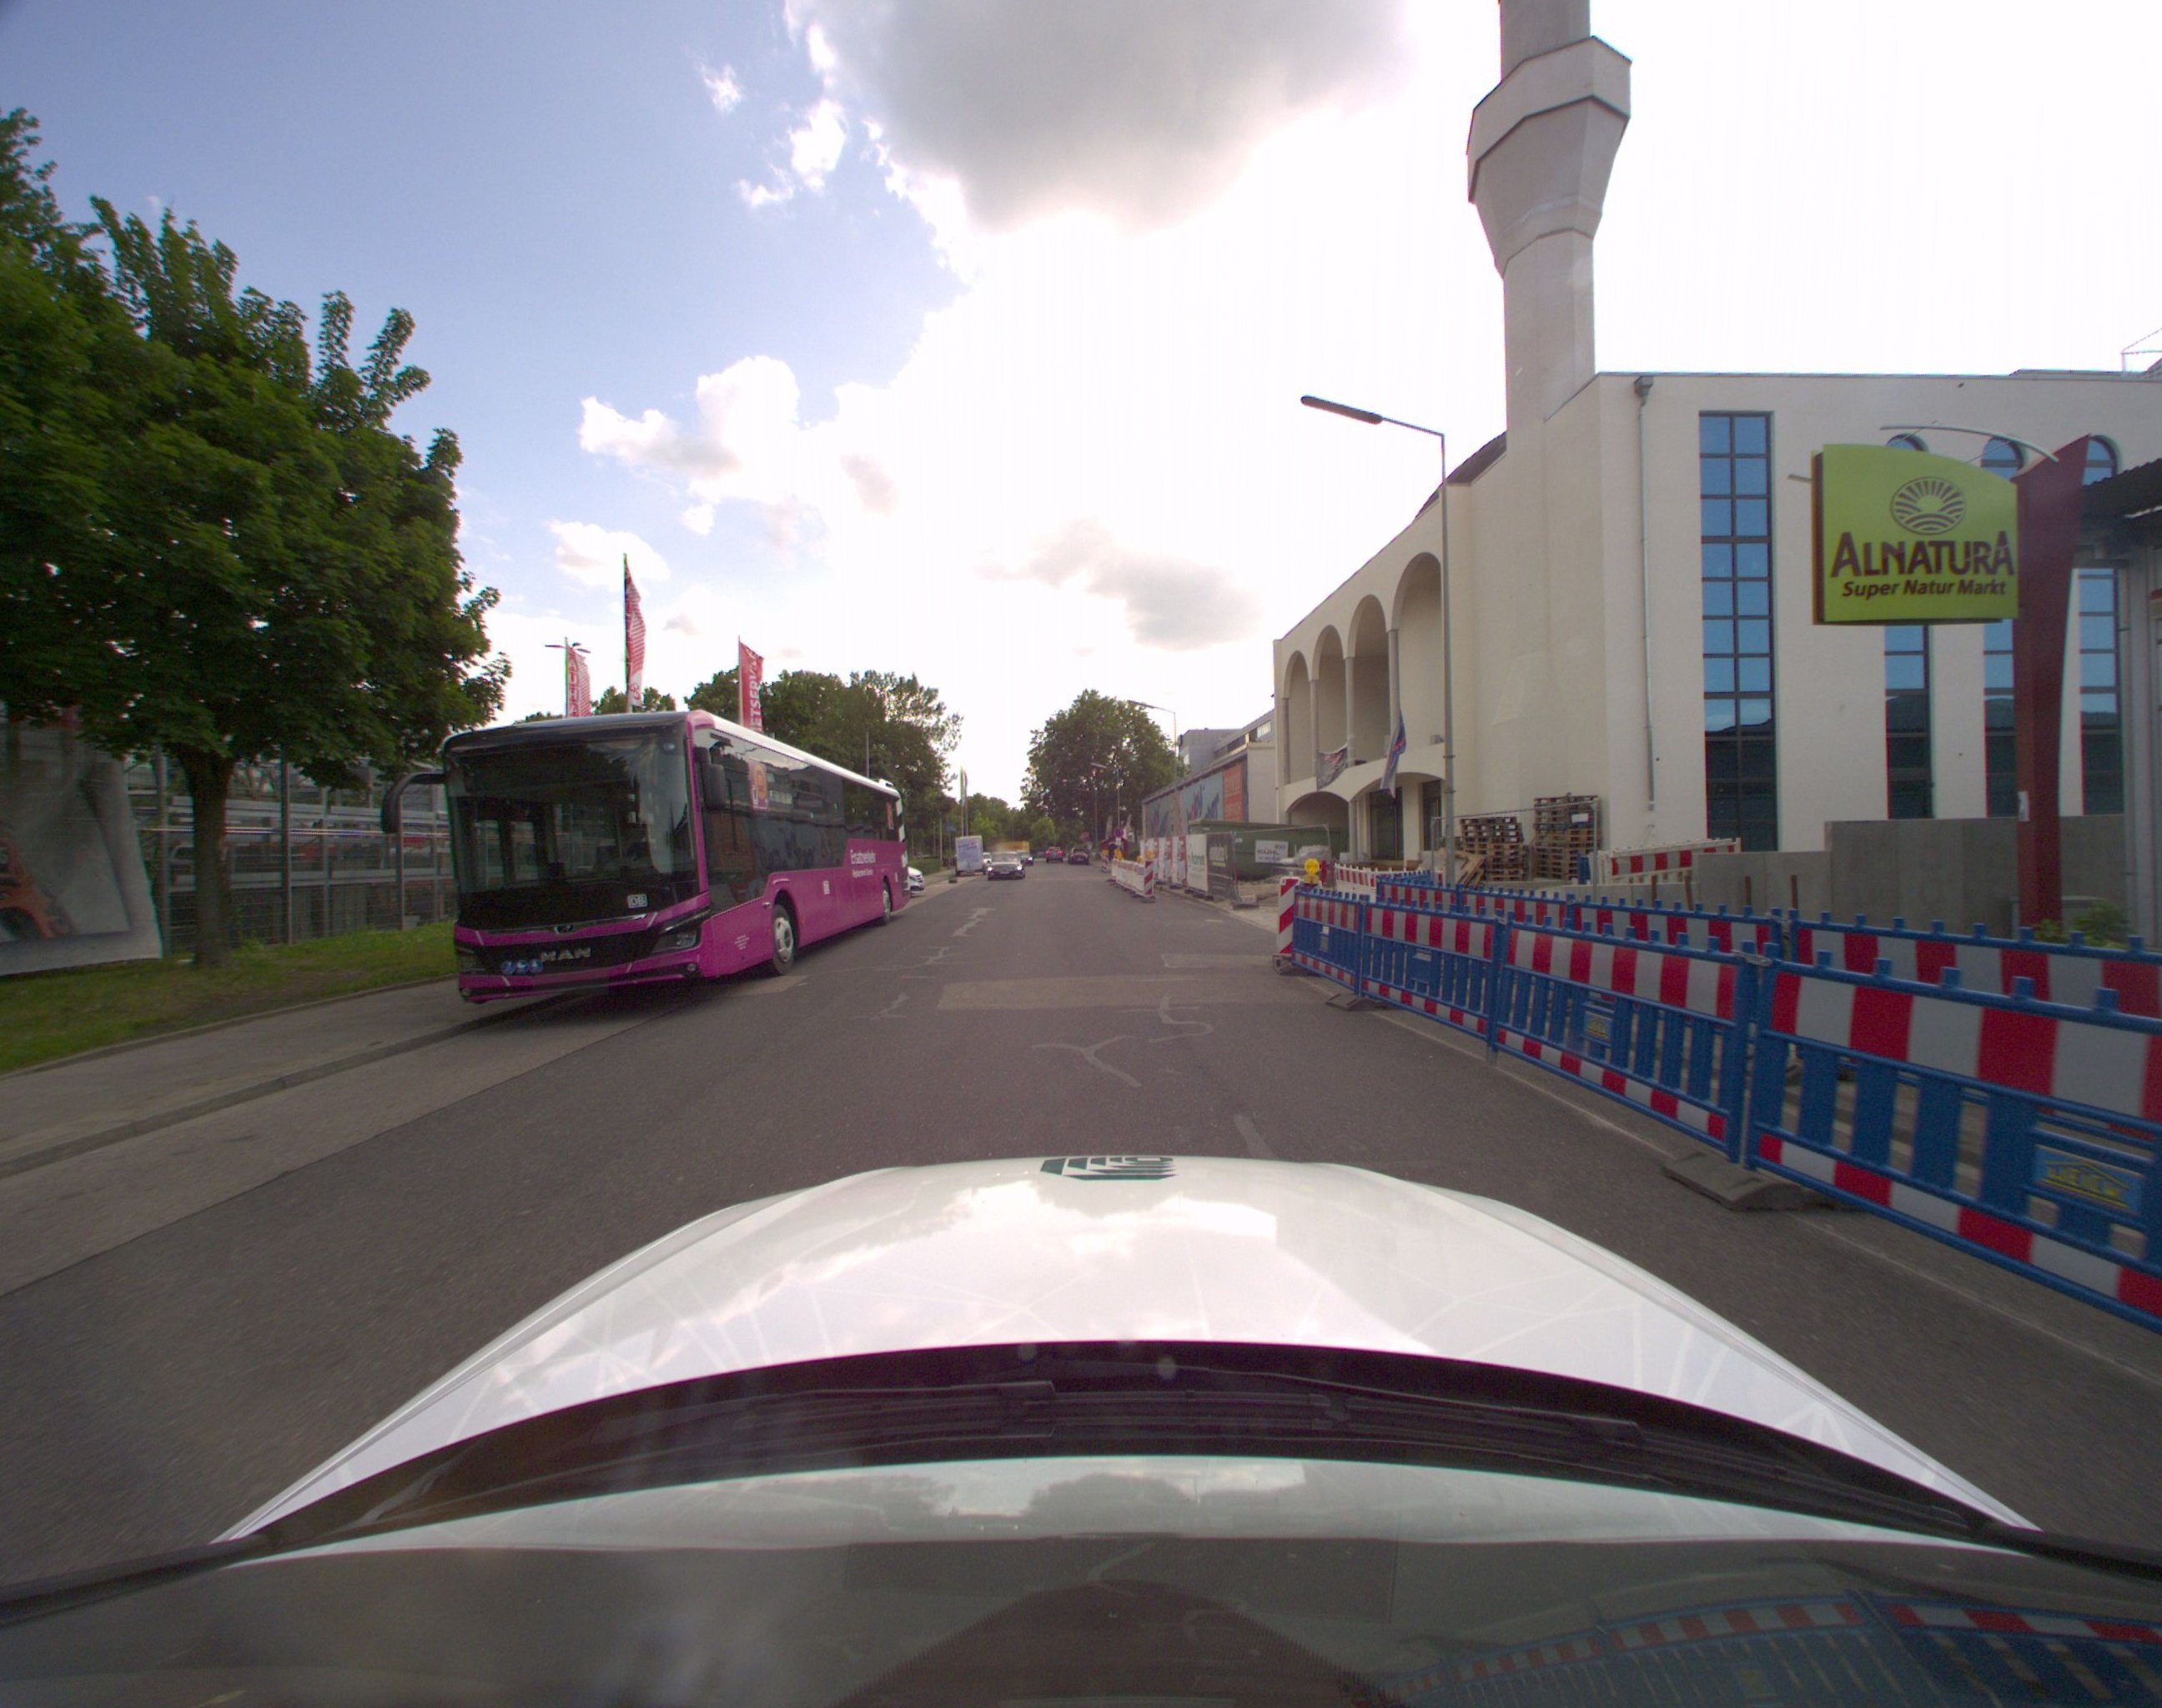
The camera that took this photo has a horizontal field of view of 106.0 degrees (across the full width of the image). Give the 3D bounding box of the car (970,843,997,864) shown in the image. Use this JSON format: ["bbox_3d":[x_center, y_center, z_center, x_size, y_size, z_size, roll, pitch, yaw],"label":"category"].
[{"bbox_3d":[-7.727,-0.072,64.739,1.762,1.479,4.230,-4,1,-4],"label":"car"}]

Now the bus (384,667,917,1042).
[{"bbox_3d":[-5.460,-0.122,14.466,2.657,3.422,13.207,-5,1,-2],"label":"bus"}]

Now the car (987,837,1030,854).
[{"bbox_3d":[-11.400,-1.357,128.298,6.326,2.578,2.219,-1,1,24],"label":"car"}]

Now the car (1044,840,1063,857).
[{"bbox_3d":[-3.081,-0.635,91.358,1.958,1.815,4.269,-1,1,-5],"label":"car"}]

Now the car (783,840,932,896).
[{"bbox_3d":[-8.331,0.489,30.656,4.980,1.949,1.994,-1,1,2],"label":"car"}]

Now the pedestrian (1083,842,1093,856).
[{"bbox_3d":[0.994,-0.725,112.482,1.004,1.849,1.221,-1,0,-21],"label":"pedestrian"}]

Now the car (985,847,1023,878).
[{"bbox_3d":[-4.055,0.394,43.495,1.792,1.459,4.381,-2,1,-3],"label":"car"}]

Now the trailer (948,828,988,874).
[{"bbox_3d":[-7.469,-0.231,54.218,2.135,2.783,4.698,-3,1,-3],"label":"trailer"}]

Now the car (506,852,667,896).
[{"bbox_3d":[-18.232,0.715,30.197,4.671,1.453,1.953,-1,1,-2],"label":"car"}]

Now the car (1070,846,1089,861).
[{"bbox_3d":[-0.169,-0.062,80.313,1.803,1.390,4.586,2,1,-1],"label":"car"}]

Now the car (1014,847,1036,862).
[{"bbox_3d":[-5.423,0.037,79.284,1.918,1.376,4.376,-1,1,-2],"label":"car"}]

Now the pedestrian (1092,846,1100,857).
[{"bbox_3d":[1.855,-0.284,100.639,1.009,1.313,0.966,-1,0,5],"label":"pedestrian"}]

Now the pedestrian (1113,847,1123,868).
[{"bbox_3d":[2.647,0.248,58.350,0.679,1.533,1.129,-1,0,-2],"label":"pedestrian"}]
